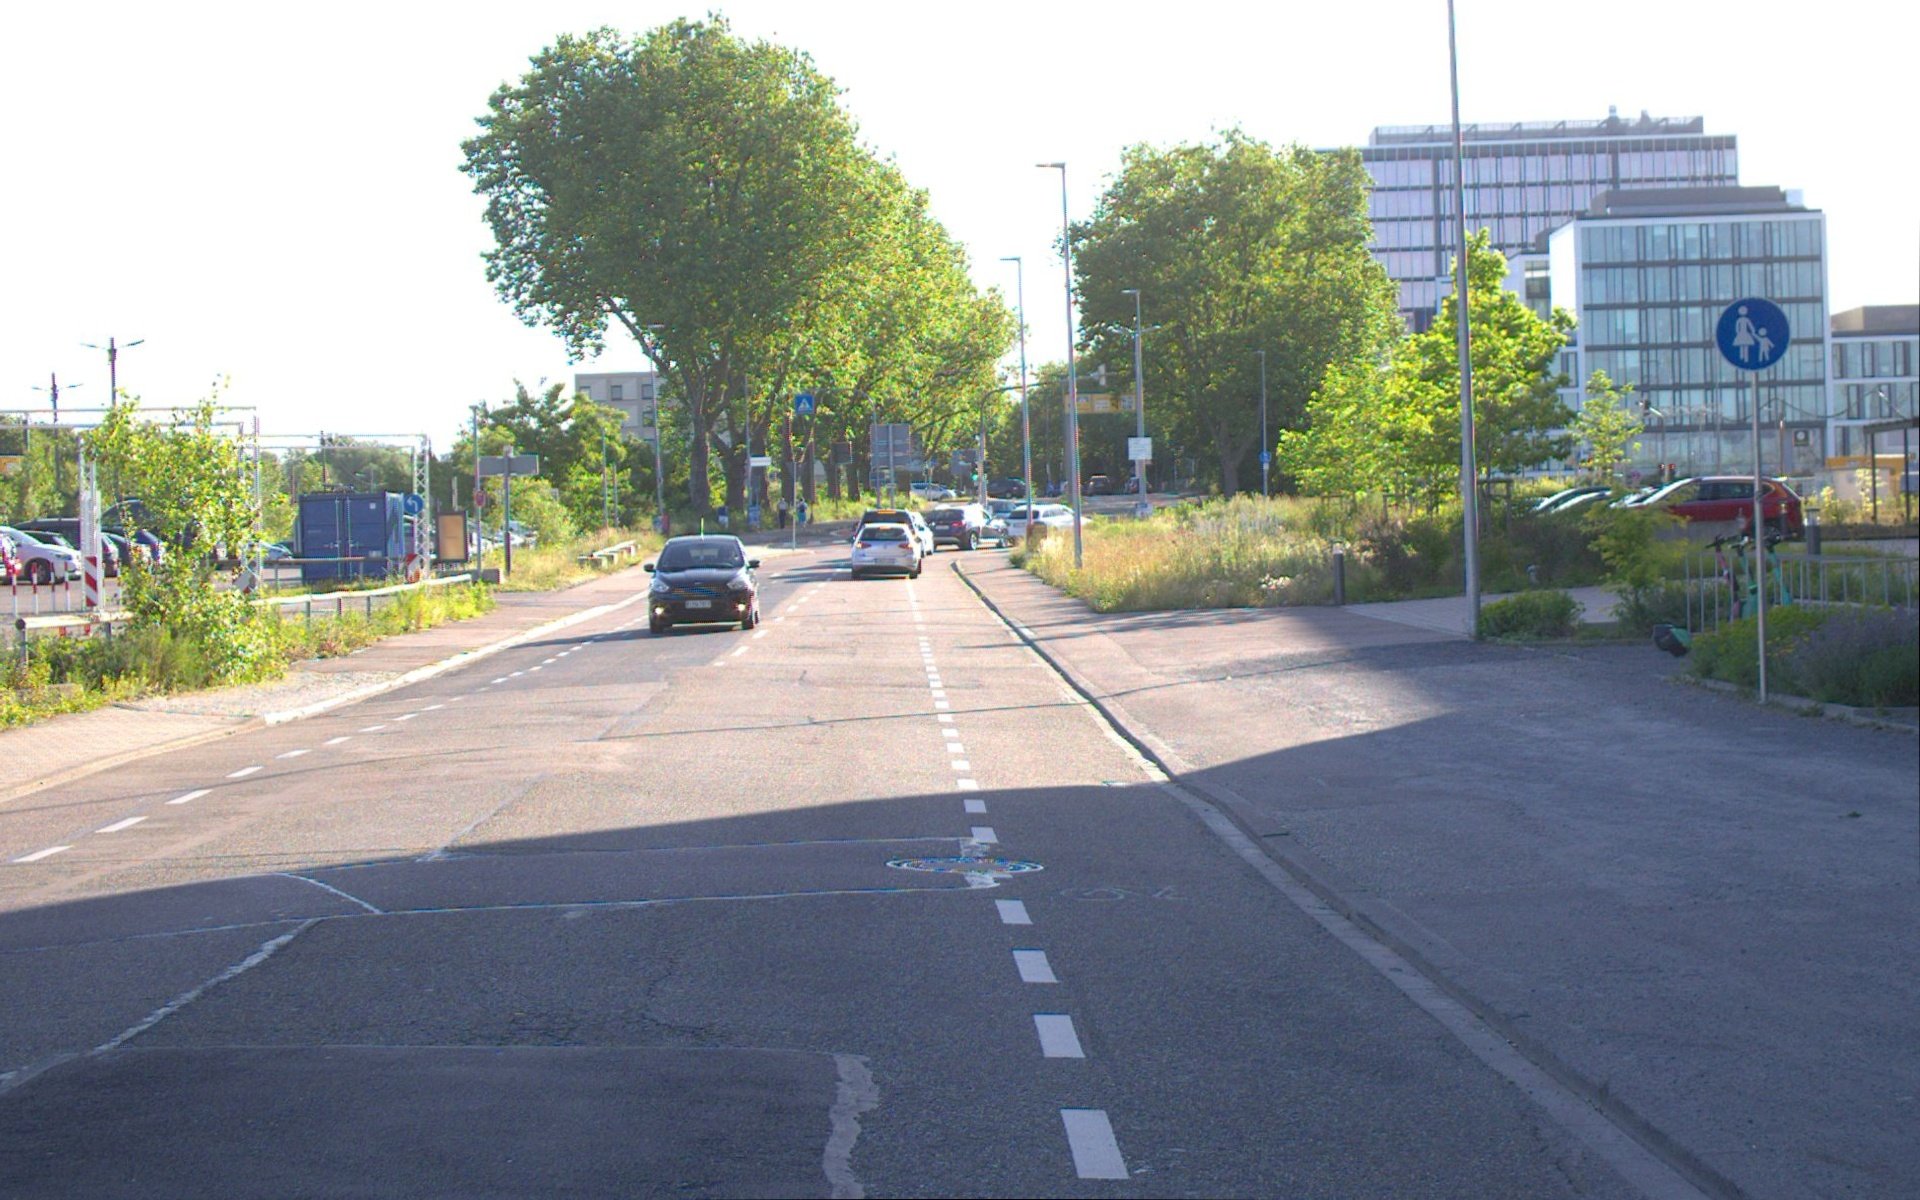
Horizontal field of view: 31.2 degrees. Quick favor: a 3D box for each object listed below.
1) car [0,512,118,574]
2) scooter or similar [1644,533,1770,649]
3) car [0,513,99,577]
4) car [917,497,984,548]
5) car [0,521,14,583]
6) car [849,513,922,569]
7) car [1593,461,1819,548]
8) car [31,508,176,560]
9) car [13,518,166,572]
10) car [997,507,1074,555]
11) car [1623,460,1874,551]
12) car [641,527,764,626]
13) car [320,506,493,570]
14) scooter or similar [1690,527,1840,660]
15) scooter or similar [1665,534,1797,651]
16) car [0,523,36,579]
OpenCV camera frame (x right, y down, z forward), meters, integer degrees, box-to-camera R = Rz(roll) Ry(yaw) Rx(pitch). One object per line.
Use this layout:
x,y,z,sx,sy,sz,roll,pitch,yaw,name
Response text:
-27.555,-1.691,102.747,4.321,1.785,1.878,-1,2,-1,car
7.952,-0.095,36.624,1.243,1.191,0.340,-2,1,4,scooter or similar
-26.881,-1.548,97.055,4.580,1.735,2.058,-1,2,3,car
-0.324,-2.687,120.033,2.163,1.678,4.000,-1,1,2,car
-26.901,-1.239,89.800,3.882,1.598,1.878,-1,2,-1,car
-1.948,-1.574,90.849,1.790,1.415,4.000,-1,2,0,car
15.085,-1.917,69.660,4.184,1.575,1.851,-1,-1,3,car
-27.517,-2.129,110.524,4.207,1.612,1.878,-1,2,-1,car
-27.326,-1.744,108.012,4.321,1.612,1.878,-1,2,-1,car
2.779,-2.502,125.457,2.164,1.678,3.998,-1,1,10,car
14.340,-1.721,62.677,4.184,1.575,1.852,-1,2,3,car
-4.164,-0.400,56.086,1.654,1.498,4.000,-2,1,0,car
-16.461,-1.858,102.461,4.845,1.828,2.000,-1,2,-1,car
7.864,-0.065,33.594,1.340,1.241,0.423,-2,1,4,scooter or similar
7.879,-0.080,35.152,1.243,1.152,0.366,-2,1,4,scooter or similar
-27.514,-1.328,94.194,3.882,1.514,1.878,-1,2,-1,car
